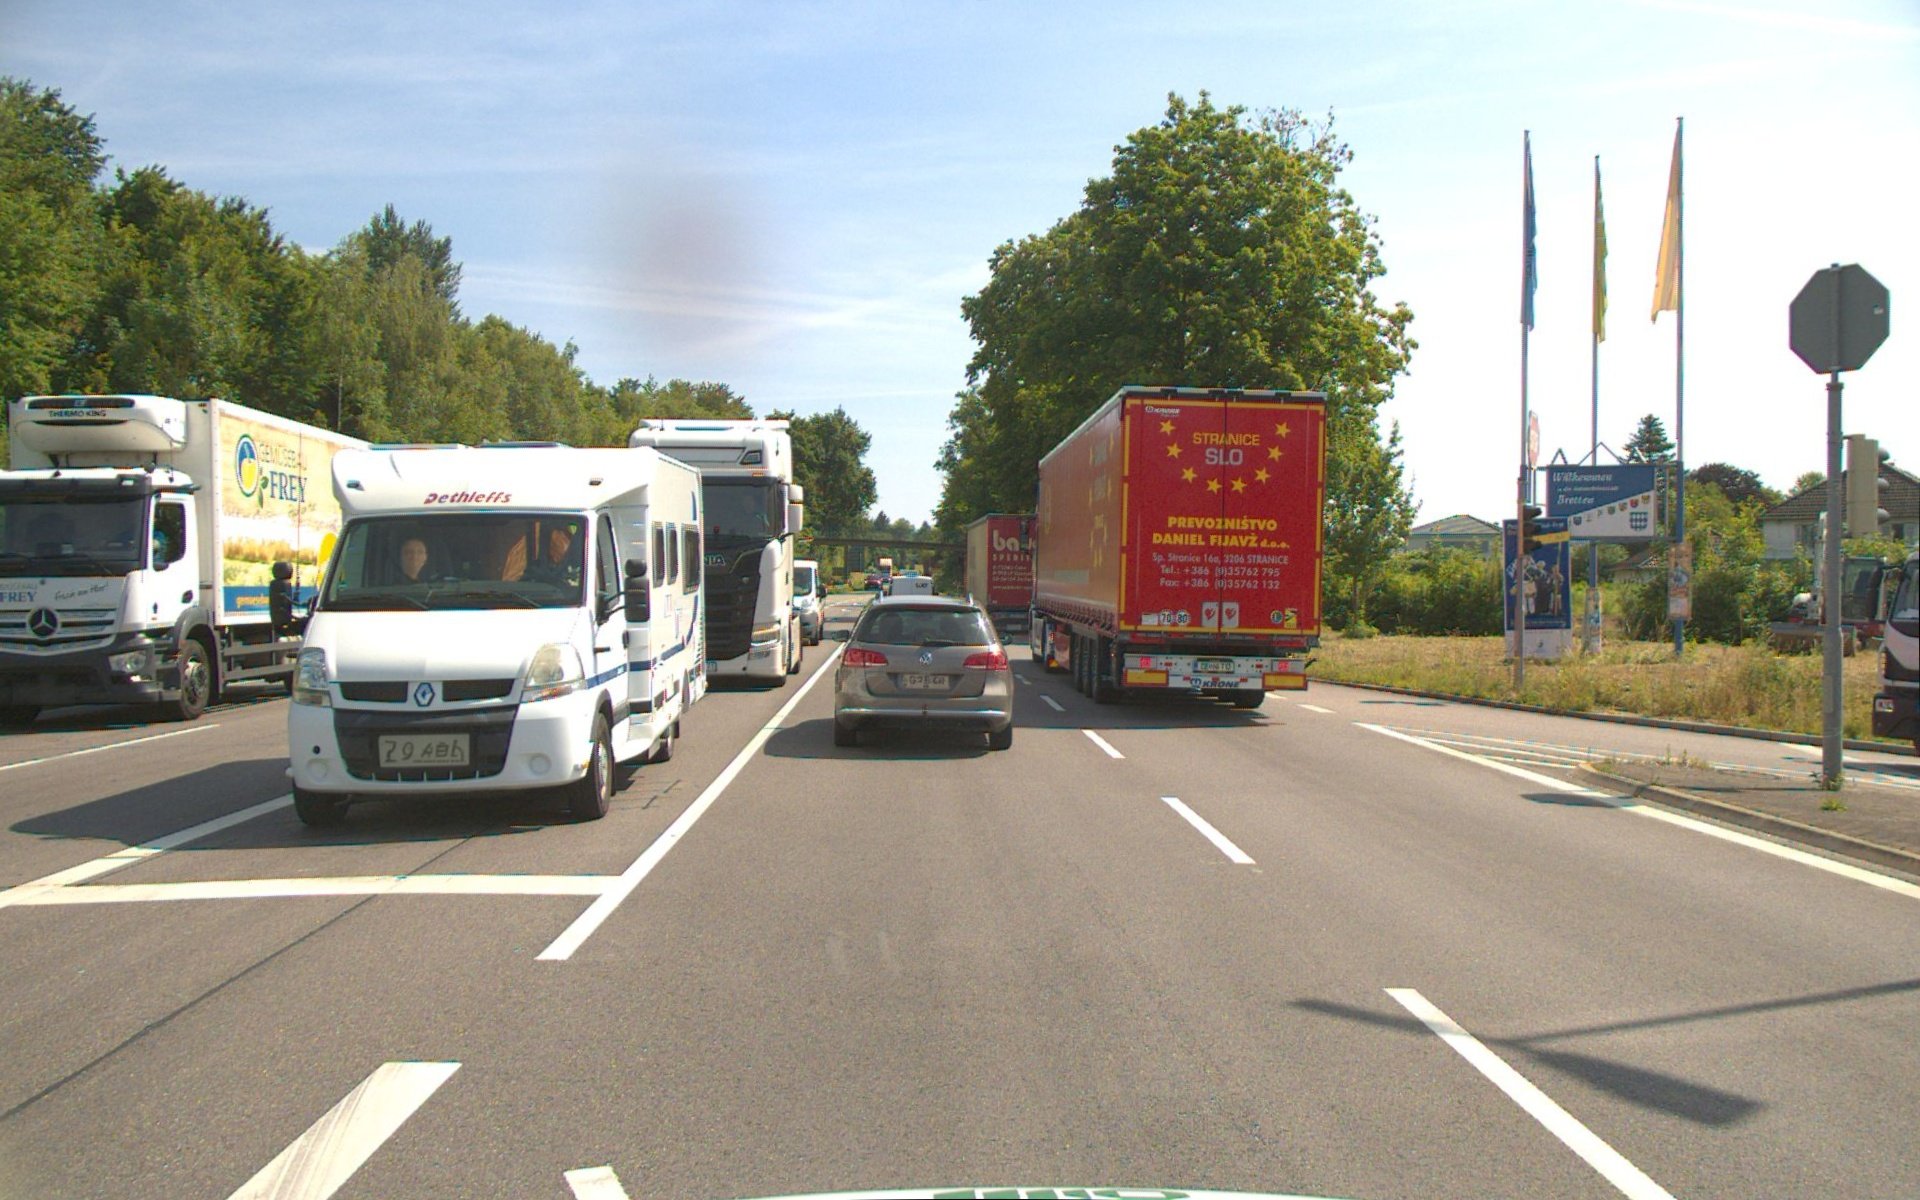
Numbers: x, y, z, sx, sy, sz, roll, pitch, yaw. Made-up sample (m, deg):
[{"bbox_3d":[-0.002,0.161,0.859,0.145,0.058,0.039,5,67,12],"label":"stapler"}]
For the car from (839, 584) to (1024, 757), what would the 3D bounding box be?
[{"bbox_3d":[-0.349,0.628,16.937,1.657,1.539,3.998,-1,0,-3],"label":"car"}]

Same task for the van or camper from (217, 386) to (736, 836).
[{"bbox_3d":[-3.348,0.049,13.338,2.283,2.645,6.976,-1,0,-2],"label":"van or camper"}]

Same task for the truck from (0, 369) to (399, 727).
[{"bbox_3d":[-10.837,-0.609,23.705,2.674,4.069,9.615,-1,0,-3],"label":"truck"}]

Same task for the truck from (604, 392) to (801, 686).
[{"bbox_3d":[-3.955,-0.880,26.650,2.486,4.159,6.261,-1,0,-3],"label":"truck"}]

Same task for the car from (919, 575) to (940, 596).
[{"bbox_3d":[-3.144,-1.496,169.124,1.954,2.049,3.998,-1,0,-3],"label":"car"}]

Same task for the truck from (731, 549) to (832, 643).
[{"bbox_3d":[-4.689,-0.103,44.444,2.182,2.307,6.497,-1,0,-2],"label":"truck"}]

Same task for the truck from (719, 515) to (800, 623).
[{"bbox_3d":[-7.007,-1.057,58.609,2.296,3.582,6.693,-1,0,-3],"label":"truck"}]

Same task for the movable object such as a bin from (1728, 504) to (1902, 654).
[{"bbox_3d":[20.443,-0.478,39.354,2.842,3.264,6.683,-1,0,34],"label":"movable object such as a bin"}]

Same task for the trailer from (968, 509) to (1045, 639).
[{"bbox_3d":[1.593,-0.889,61.793,2.346,4.317,13.076,-1,0,-1],"label":"trailer"}]

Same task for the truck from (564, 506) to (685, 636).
[{"bbox_3d":[-11.711,-0.963,58.650,2.773,4.188,9.676,-1,0,-3],"label":"truck"}]

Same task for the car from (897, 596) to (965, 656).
[{"bbox_3d":[-0.841,0.670,45.462,1.735,1.539,3.998,-1,0,-3],"label":"car"}]

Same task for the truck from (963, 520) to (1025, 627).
[{"bbox_3d":[1.351,-1.065,68.058,2.357,4.200,5.520,-1,0,-1],"label":"truck"}]

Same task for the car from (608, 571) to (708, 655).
[{"bbox_3d":[-7.709,0.310,42.549,1.954,2.049,3.998,-1,0,-3],"label":"car"}]

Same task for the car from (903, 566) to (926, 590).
[{"bbox_3d":[-4.042,-1.908,146.837,1.954,2.049,3.998,-1,0,-3],"label":"car"}]

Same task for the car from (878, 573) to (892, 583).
[{"bbox_3d":[-11.166,-3.255,245.806,1.923,1.439,4.000,0,0,0],"label":"car"}]

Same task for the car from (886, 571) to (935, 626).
[{"bbox_3d":[-1.857,-0.061,61.377,1.735,1.970,3.975,-1,0,-3],"label":"car"}]

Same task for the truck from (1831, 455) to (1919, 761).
[{"bbox_3d":[16.099,0.457,21.307,9.524,3.691,2.752,5,-2,-19],"label":"truck"}]

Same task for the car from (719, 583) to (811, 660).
[{"bbox_3d":[-4.252,0.436,36.483,1.676,1.578,4.107,-1,0,-2],"label":"car"}]

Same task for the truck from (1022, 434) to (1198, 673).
[{"bbox_3d":[2.887,-0.869,33.495,2.812,4.355,5.837,1,0,-2],"label":"truck"}]

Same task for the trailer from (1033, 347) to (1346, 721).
[{"bbox_3d":[3.063,-0.815,26.539,2.782,4.441,13.163,1,0,-1],"label":"trailer"}]
